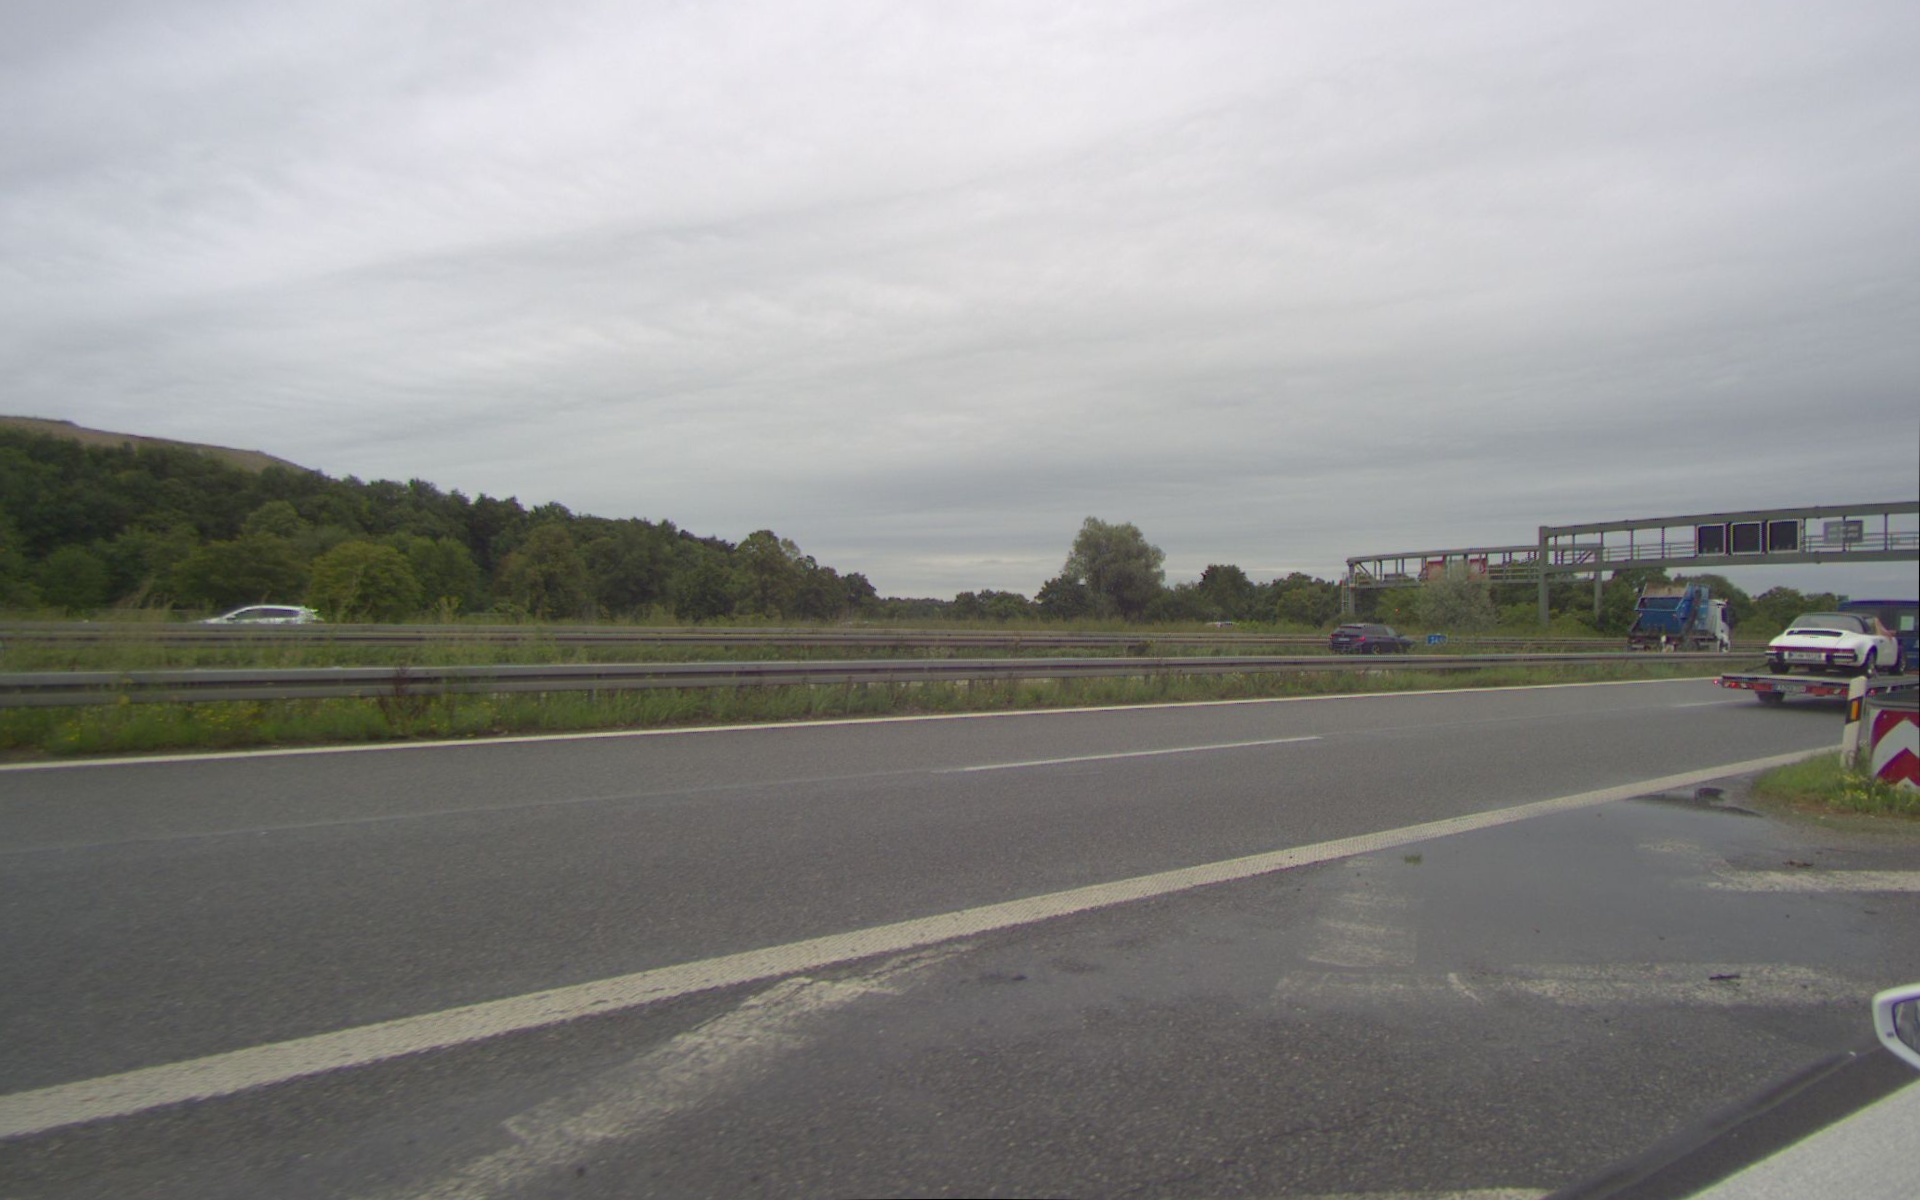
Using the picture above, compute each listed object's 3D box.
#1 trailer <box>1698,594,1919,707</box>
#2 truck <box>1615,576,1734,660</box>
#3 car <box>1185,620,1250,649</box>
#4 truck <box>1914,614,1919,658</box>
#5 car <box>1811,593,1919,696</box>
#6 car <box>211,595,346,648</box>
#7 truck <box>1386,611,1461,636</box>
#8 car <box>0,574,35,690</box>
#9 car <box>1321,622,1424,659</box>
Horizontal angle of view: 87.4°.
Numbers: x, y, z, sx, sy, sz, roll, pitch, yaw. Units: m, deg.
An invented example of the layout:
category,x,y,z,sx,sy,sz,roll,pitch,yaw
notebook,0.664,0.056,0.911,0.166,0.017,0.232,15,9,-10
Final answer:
category,x,y,z,sx,sy,sz,roll,pitch,yaw
trailer,18.464,1.017,21.283,6.993,2.021,2.468,2,0,-35
truck,35.500,0.946,49.822,7.274,3.863,2.619,3,0,-36
car,16.811,2.263,65.559,3.957,1.751,1.841,3,0,-33
truck,80.172,2.998,81.159,8.545,3.409,2.838,2,0,-35
car,23.807,1.101,25.117,6.195,2.296,2.357,2,0,-35
car,-24.887,0.796,36.860,3.957,1.751,1.841,3,0,-33
truck,43.037,2.168,93.204,8.720,2.040,1.982,3,0,-33
car,-16.159,0.360,13.823,4.760,1.648,1.869,3,0,-35
car,17.487,1.723,42.506,4.730,1.410,1.791,3,0,-36
